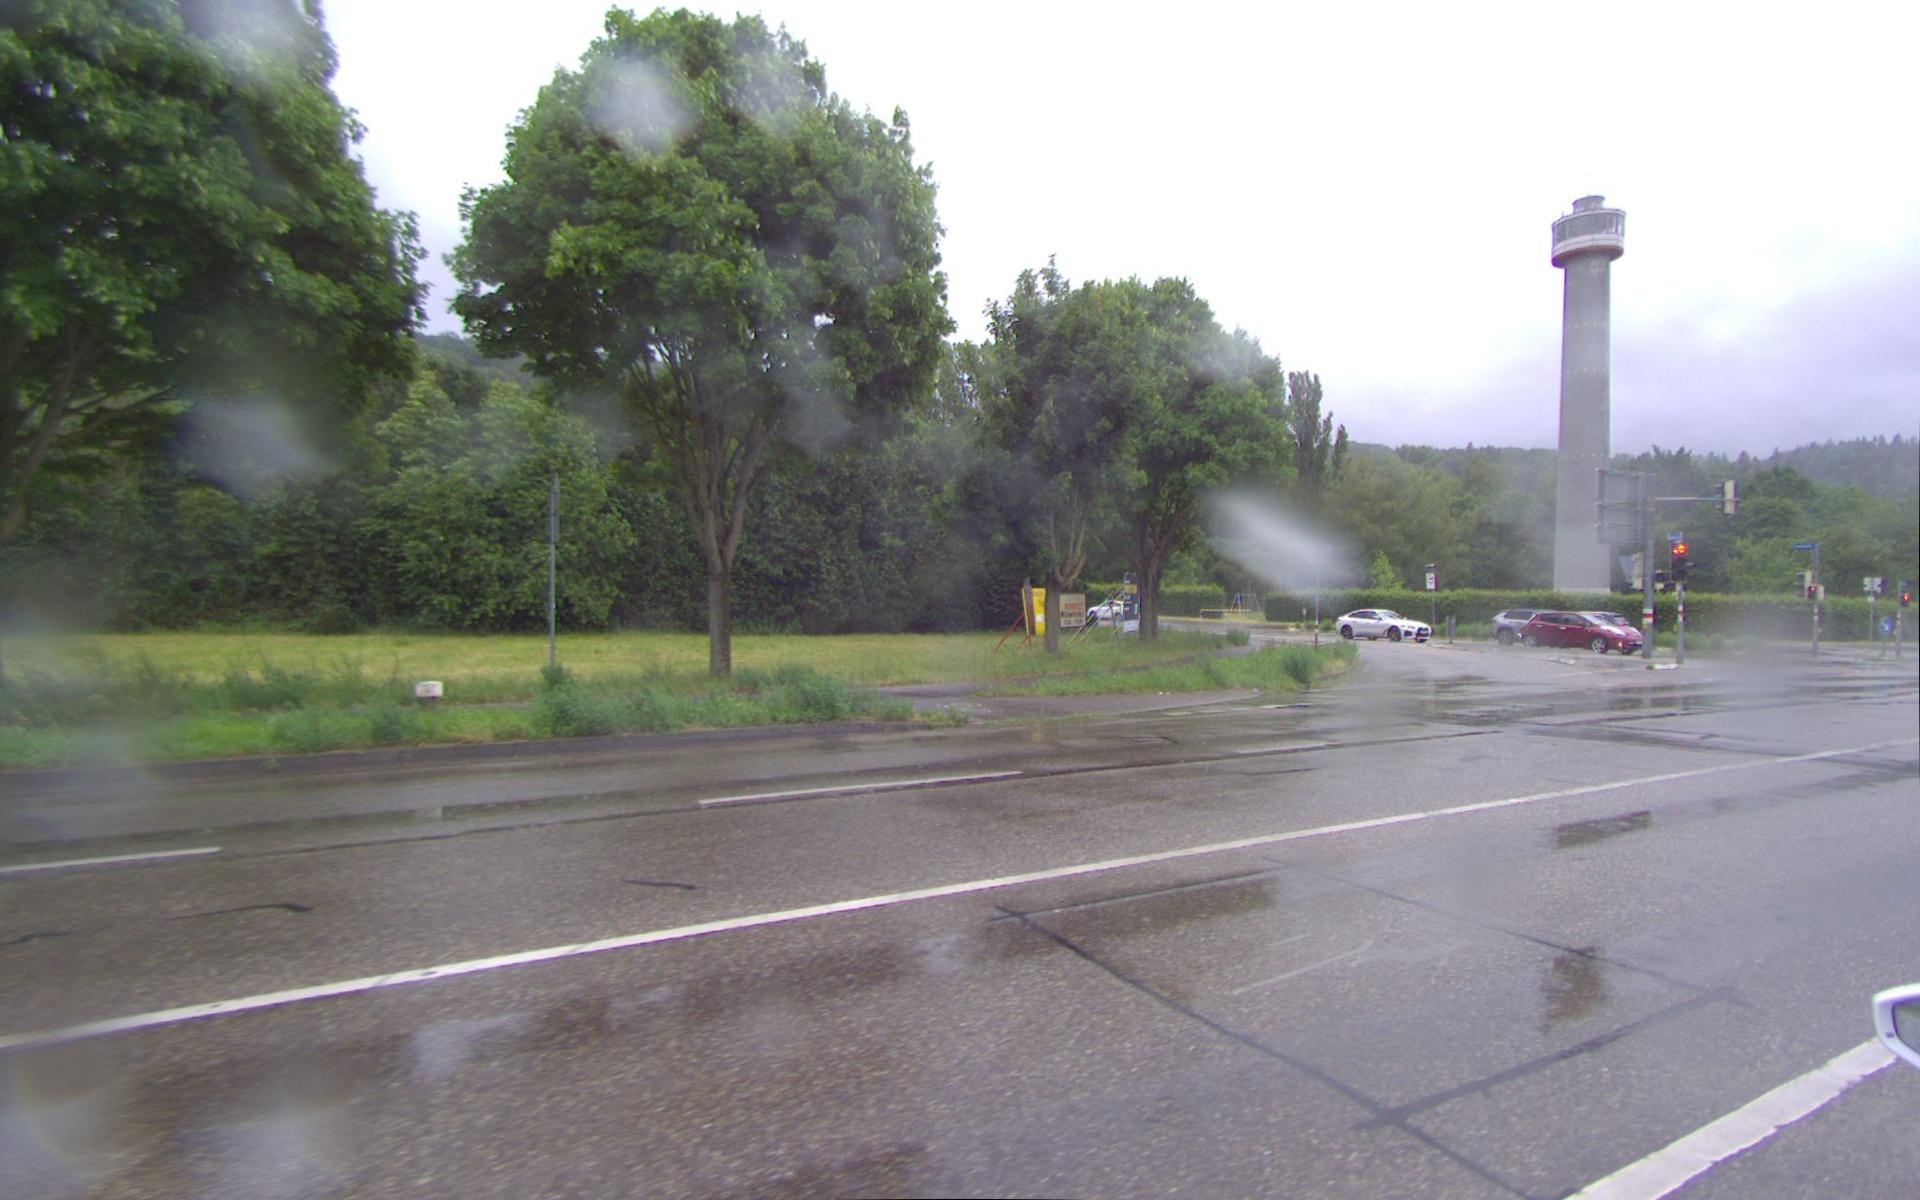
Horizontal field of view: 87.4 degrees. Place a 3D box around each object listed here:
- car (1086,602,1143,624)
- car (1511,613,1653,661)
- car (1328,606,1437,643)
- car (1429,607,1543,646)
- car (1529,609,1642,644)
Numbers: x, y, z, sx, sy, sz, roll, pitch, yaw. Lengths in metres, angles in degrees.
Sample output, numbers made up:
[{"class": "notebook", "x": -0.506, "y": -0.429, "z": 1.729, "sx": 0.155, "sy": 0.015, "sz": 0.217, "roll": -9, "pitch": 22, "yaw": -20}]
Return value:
[{"class": "car", "x": 12.074, "y": 1.007, "z": 78.657, "sx": 1.720, "sy": 1.601, "sz": 4.334, "roll": 0, "pitch": 1, "yaw": -42}, {"class": "car", "x": 23.589, "y": 1.358, "z": 38.265, "sx": 1.709, "sy": 1.601, "sz": 4.361, "roll": 0, "pitch": 0, "yaw": -25}, {"class": "car", "x": 19.673, "y": 1.108, "z": 47.031, "sx": 1.773, "sy": 1.574, "sz": 4.871, "roll": 1, "pitch": 0, "yaw": -22}, {"class": "car", "x": 24.145, "y": 1.187, "z": 46.295, "sx": 1.885, "sy": 1.601, "sz": 4.517, "roll": 1, "pitch": 1, "yaw": -22}, {"class": "car", "x": 32.165, "y": 1.314, "z": 51.743, "sx": 1.808, "sy": 1.661, "sz": 4.629, "roll": 1, "pitch": 0, "yaw": -41}]
